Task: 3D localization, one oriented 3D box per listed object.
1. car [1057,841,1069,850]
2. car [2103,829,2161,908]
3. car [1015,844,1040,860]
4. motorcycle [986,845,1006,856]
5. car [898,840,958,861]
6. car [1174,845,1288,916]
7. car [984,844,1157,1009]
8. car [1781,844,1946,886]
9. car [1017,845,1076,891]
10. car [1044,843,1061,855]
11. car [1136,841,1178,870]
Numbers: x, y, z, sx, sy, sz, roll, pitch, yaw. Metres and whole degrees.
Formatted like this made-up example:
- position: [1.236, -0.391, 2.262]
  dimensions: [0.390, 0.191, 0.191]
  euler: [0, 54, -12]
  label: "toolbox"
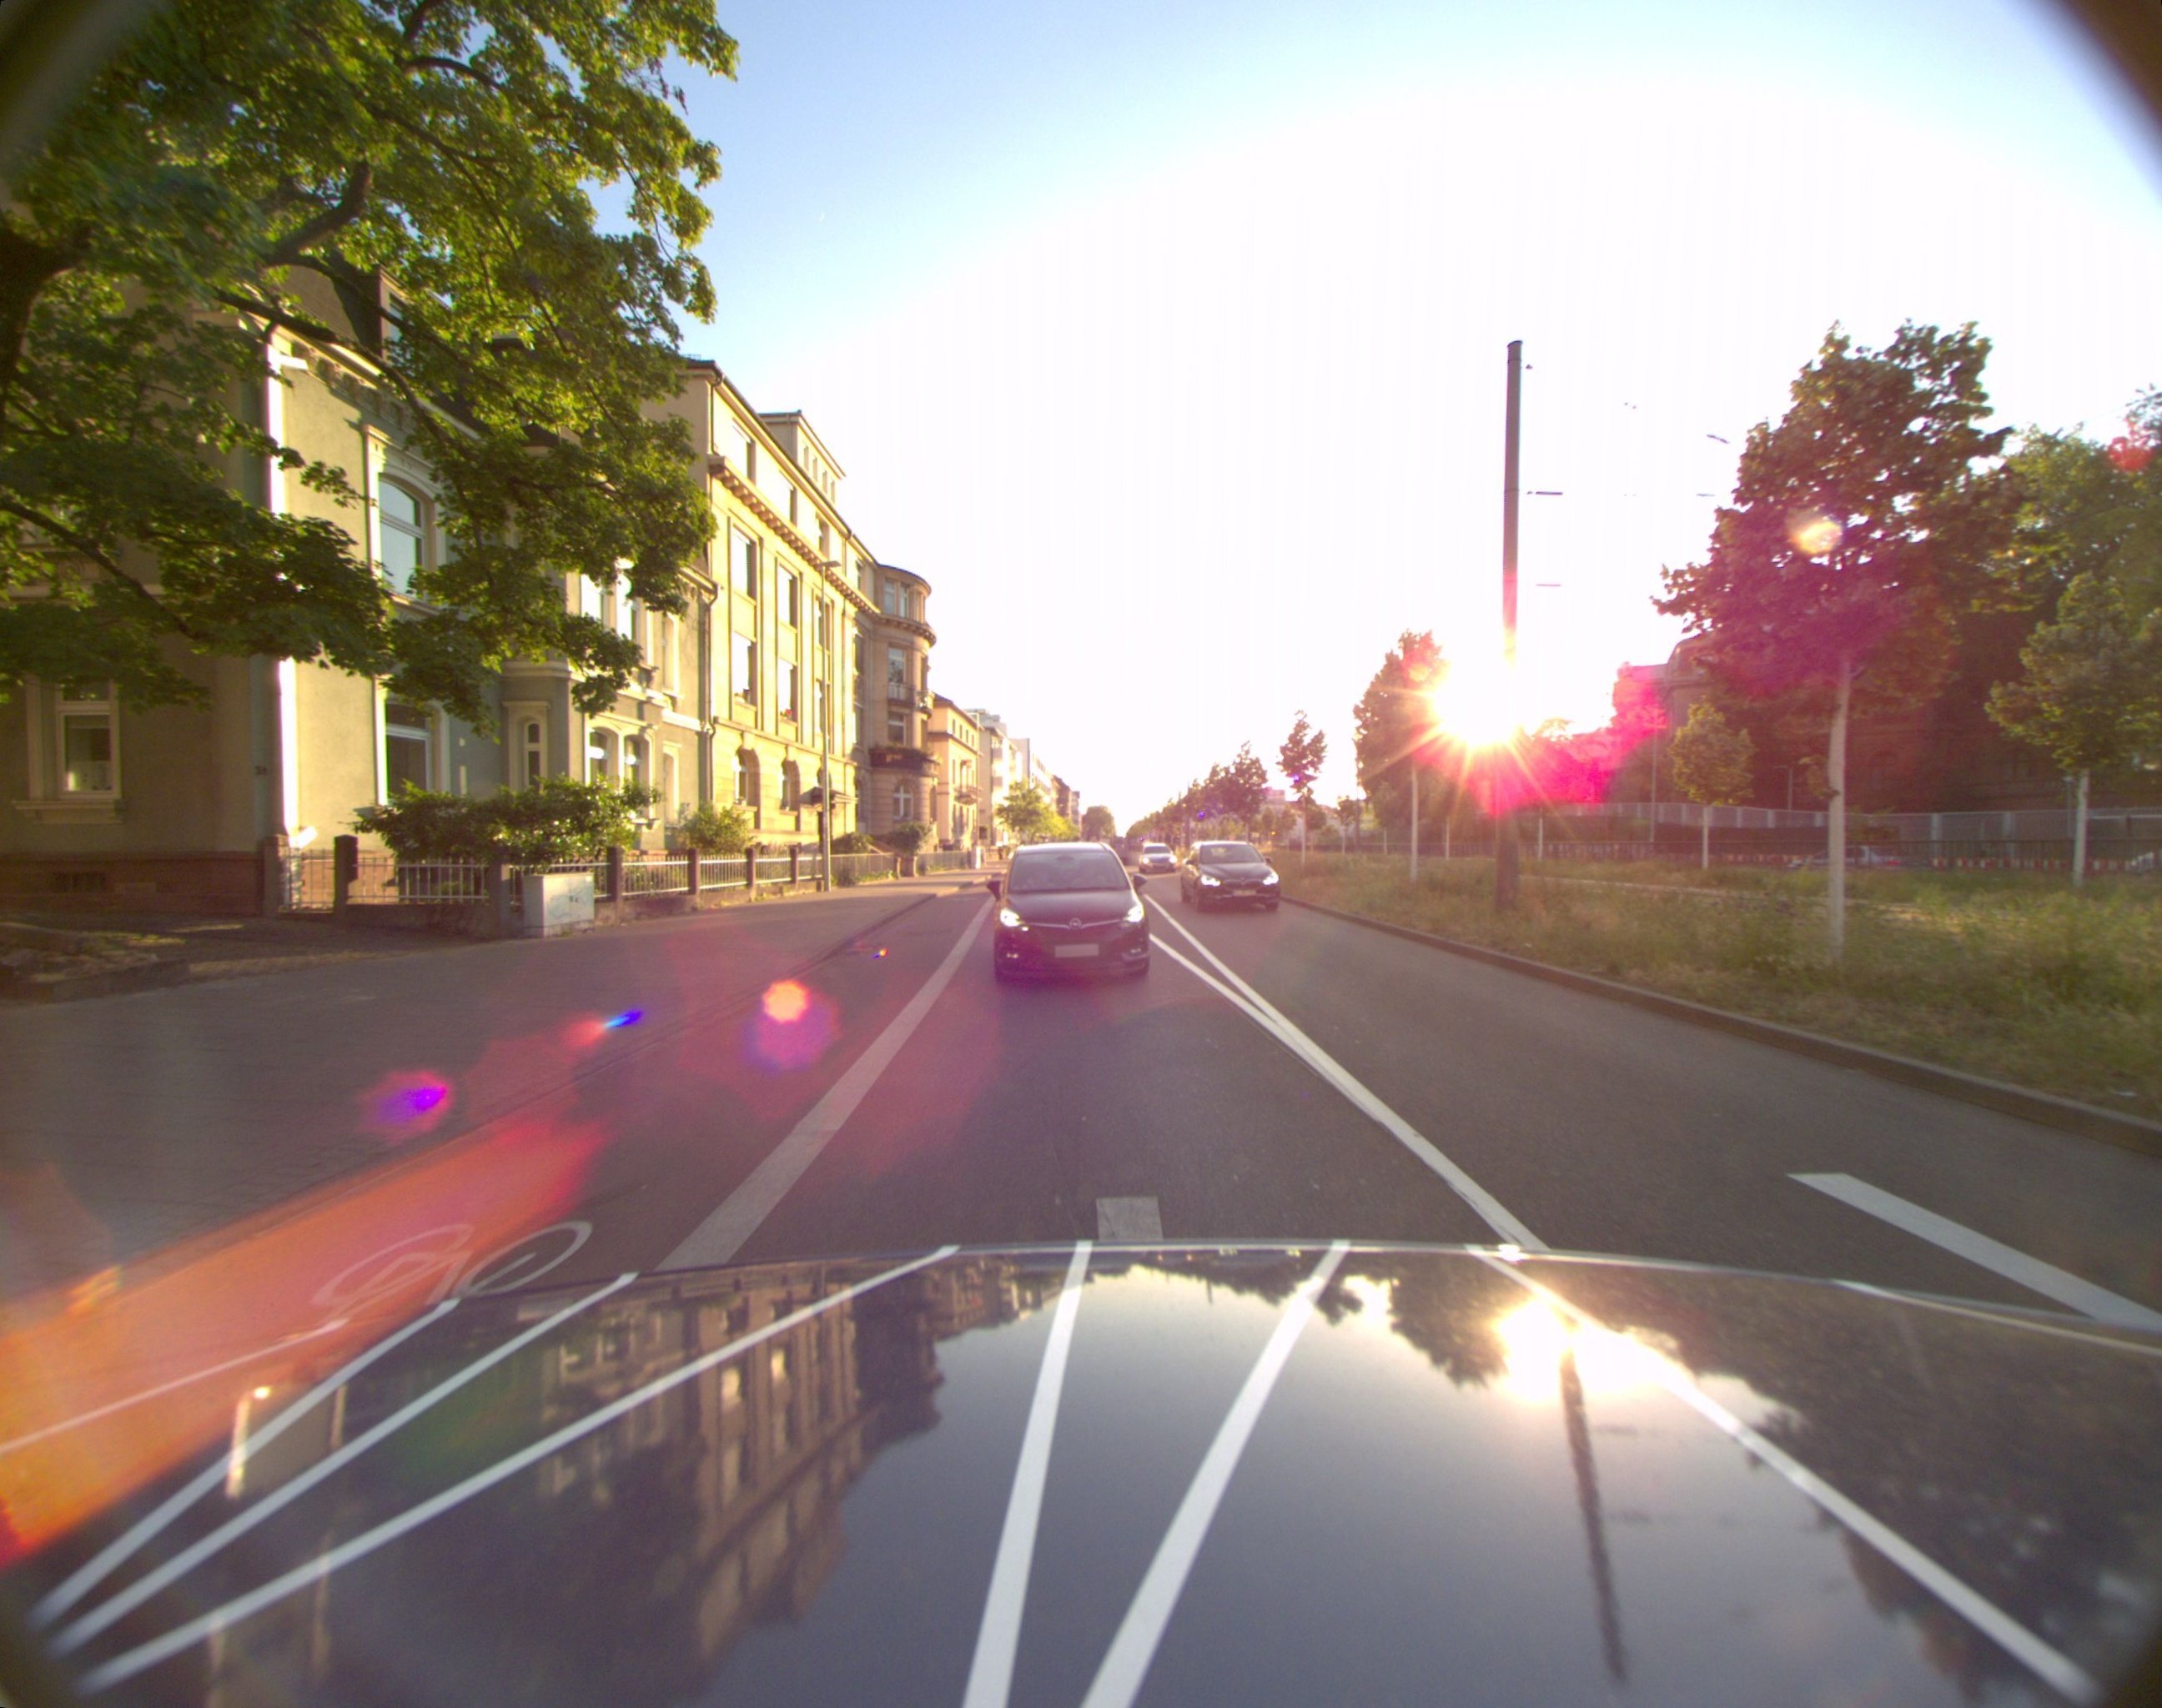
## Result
- position: [-2.962, -1.353, 125.802]
  dimensions: [1.937, 1.473, 4.099]
  euler: [-1, 1, 0]
  label: "car"
- position: [30.570, 0.363, 19.621]
  dimensions: [1.998, 2.155, 4.751]
  euler: [-2, 0, 2]
  label: "car"
- position: [-4.674, -0.194, 67.355]
  dimensions: [1.882, 1.394, 4.099]
  euler: [-1, 1, 0]
  label: "car"
- position: [-8.388, -0.320, 74.637]
  dimensions: [1.848, 1.091, 0.576]
  euler: [-1, 1, 7]
  label: "motorcycle"
- position: [-11.711, -0.286, 58.264]
  dimensions: [4.096, 1.473, 1.938]
  euler: [-1, 1, 2]
  label: "car"
- position: [3.450, 0.565, 18.390]
  dimensions: [1.859, 1.425, 4.843]
  euler: [-2, 0, 1]
  label: "car"
- position: [-0.262, 0.722, 10.337]
  dimensions: [1.771, 1.649, 4.849]
  euler: [-1, 1, -4]
  label: "car"
- position: [30.940, 0.413, 30.298]
  dimensions: [1.998, 1.472, 4.523]
  euler: [-2, 0, 2]
  label: "car"
- position: [-1.186, 0.459, 26.919]
  dimensions: [1.859, 1.425, 4.842]
  euler: [-2, 0, -2]
  label: "car"
- position: [-3.618, -0.657, 96.414]
  dimensions: [1.937, 1.473, 4.099]
  euler: [-1, 1, 0]
  label: "car"
- position: [3.947, 0.079, 40.168]
  dimensions: [1.859, 1.425, 4.843]
  euler: [-2, 0, 2]
  label: "car"
